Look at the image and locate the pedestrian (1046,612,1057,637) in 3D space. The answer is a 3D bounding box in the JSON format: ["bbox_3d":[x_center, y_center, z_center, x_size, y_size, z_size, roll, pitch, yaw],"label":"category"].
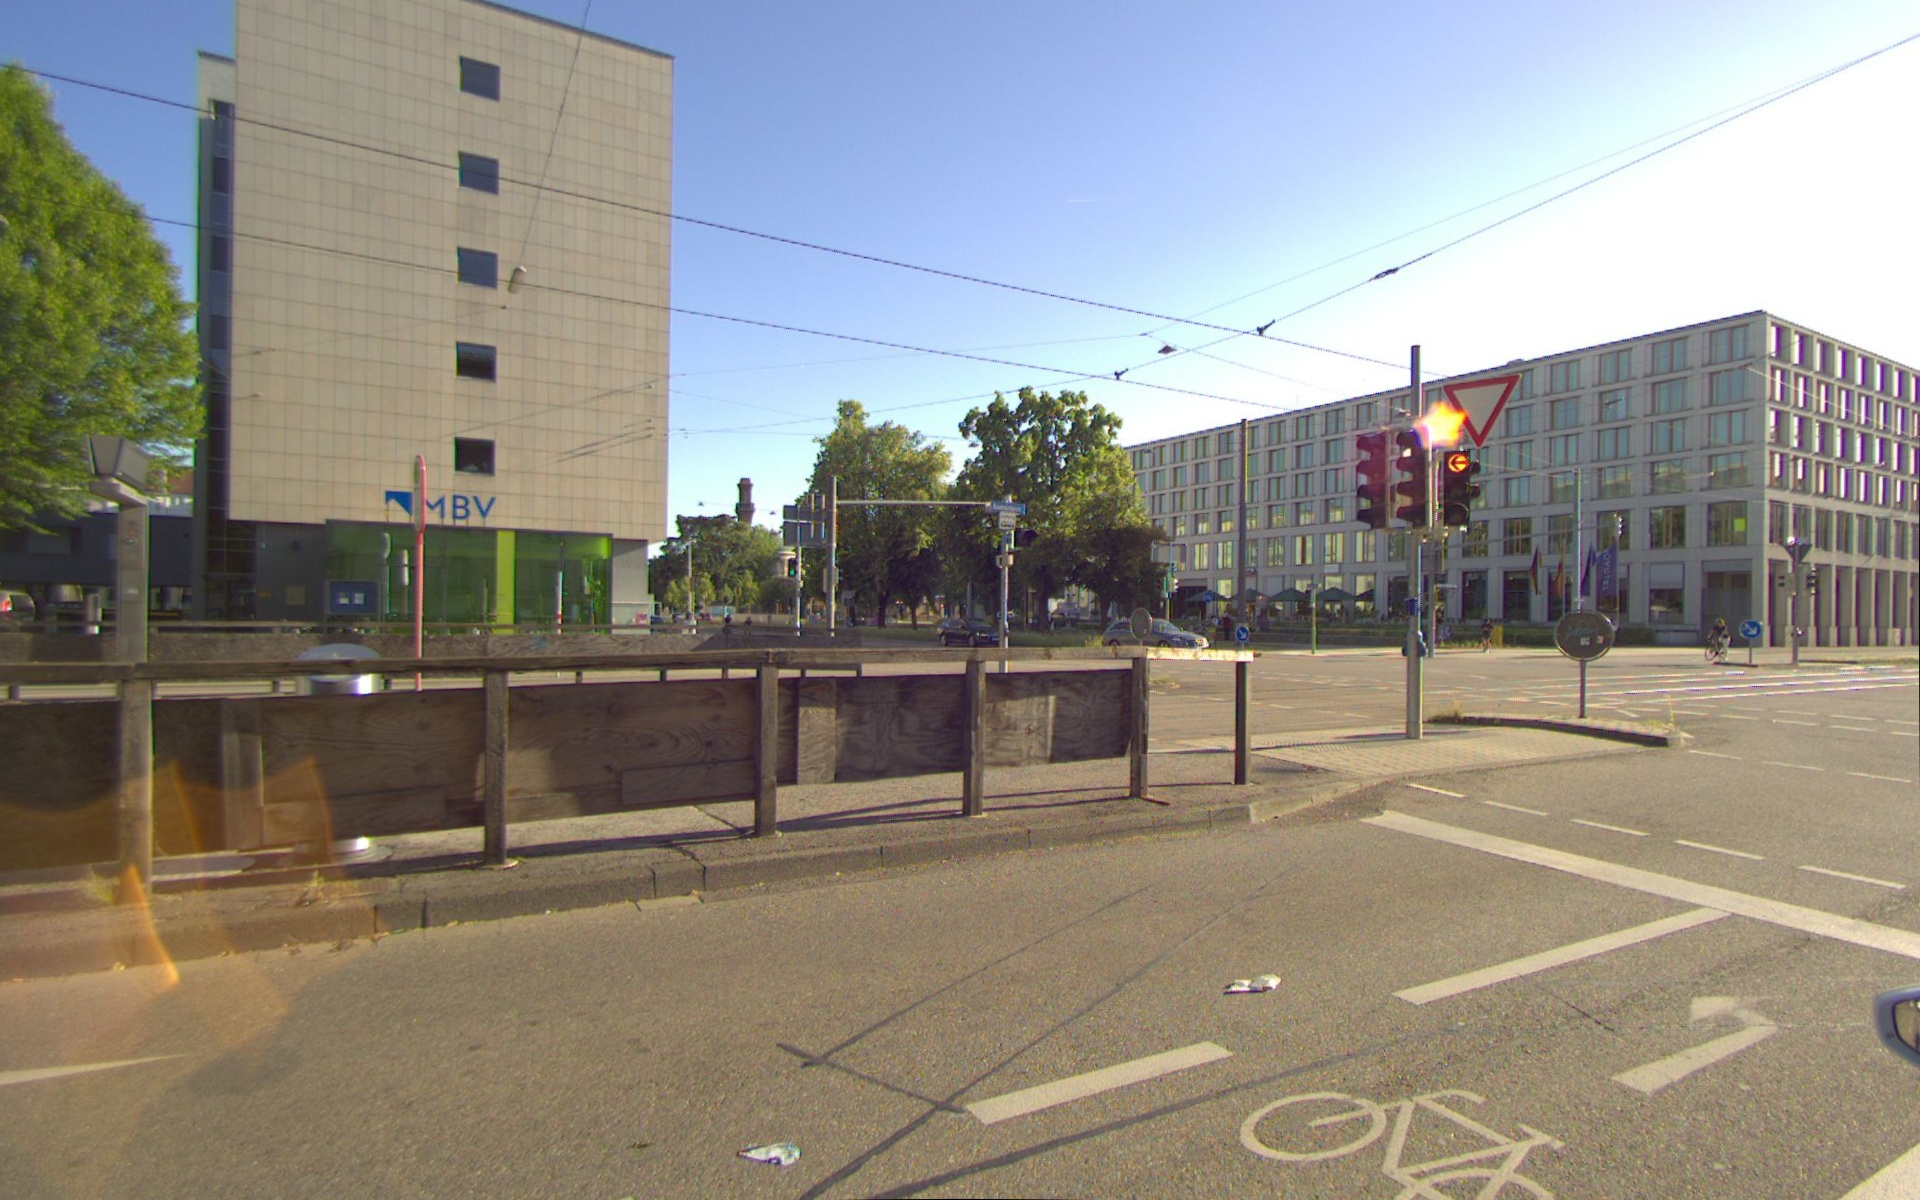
[{"bbox_3d":[7.104,1.884,77.735,0.672,1.928,0.560,1,-1,-21],"label":"pedestrian"}]

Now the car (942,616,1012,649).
[{"bbox_3d":[0.835,1.611,51.229,1.801,1.595,3.967,0,0,-31],"label":"car"}]

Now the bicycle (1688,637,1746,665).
[{"bbox_3d":[31.931,2.145,42.352,2.977,1.136,0.871,1,-1,-30],"label":"bicycle"}]

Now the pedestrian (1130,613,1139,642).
[{"bbox_3d":[12.126,1.923,69.756,0.483,2.040,0.493,1,-1,-17],"label":"pedestrian"}]

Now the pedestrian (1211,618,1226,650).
[{"bbox_3d":[16.513,2.146,64.234,0.793,2.040,0.526,1,-1,-36],"label":"pedestrian"}]

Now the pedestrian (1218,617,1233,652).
[{"bbox_3d":[16.454,2.134,62.217,0.644,2.096,0.645,1,-1,-36],"label":"pedestrian"}]

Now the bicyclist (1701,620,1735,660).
[{"bbox_3d":[31.984,1.688,42.387,0.812,1.663,0.872,1,-1,-29],"label":"bicyclist"}]

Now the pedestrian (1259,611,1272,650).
[{"bbox_3d":[18.597,1.859,61.149,0.528,2.310,0.565,1,-1,-36],"label":"pedestrian"}]

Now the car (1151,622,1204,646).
[{"bbox_3d":[13.658,2.120,63.122,1.456,1.457,3.164,1,-1,-34],"label":"car"}]

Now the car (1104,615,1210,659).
[{"bbox_3d":[7.557,1.384,38.874,1.708,1.595,4.140,1,-1,-31],"label":"car"}]
